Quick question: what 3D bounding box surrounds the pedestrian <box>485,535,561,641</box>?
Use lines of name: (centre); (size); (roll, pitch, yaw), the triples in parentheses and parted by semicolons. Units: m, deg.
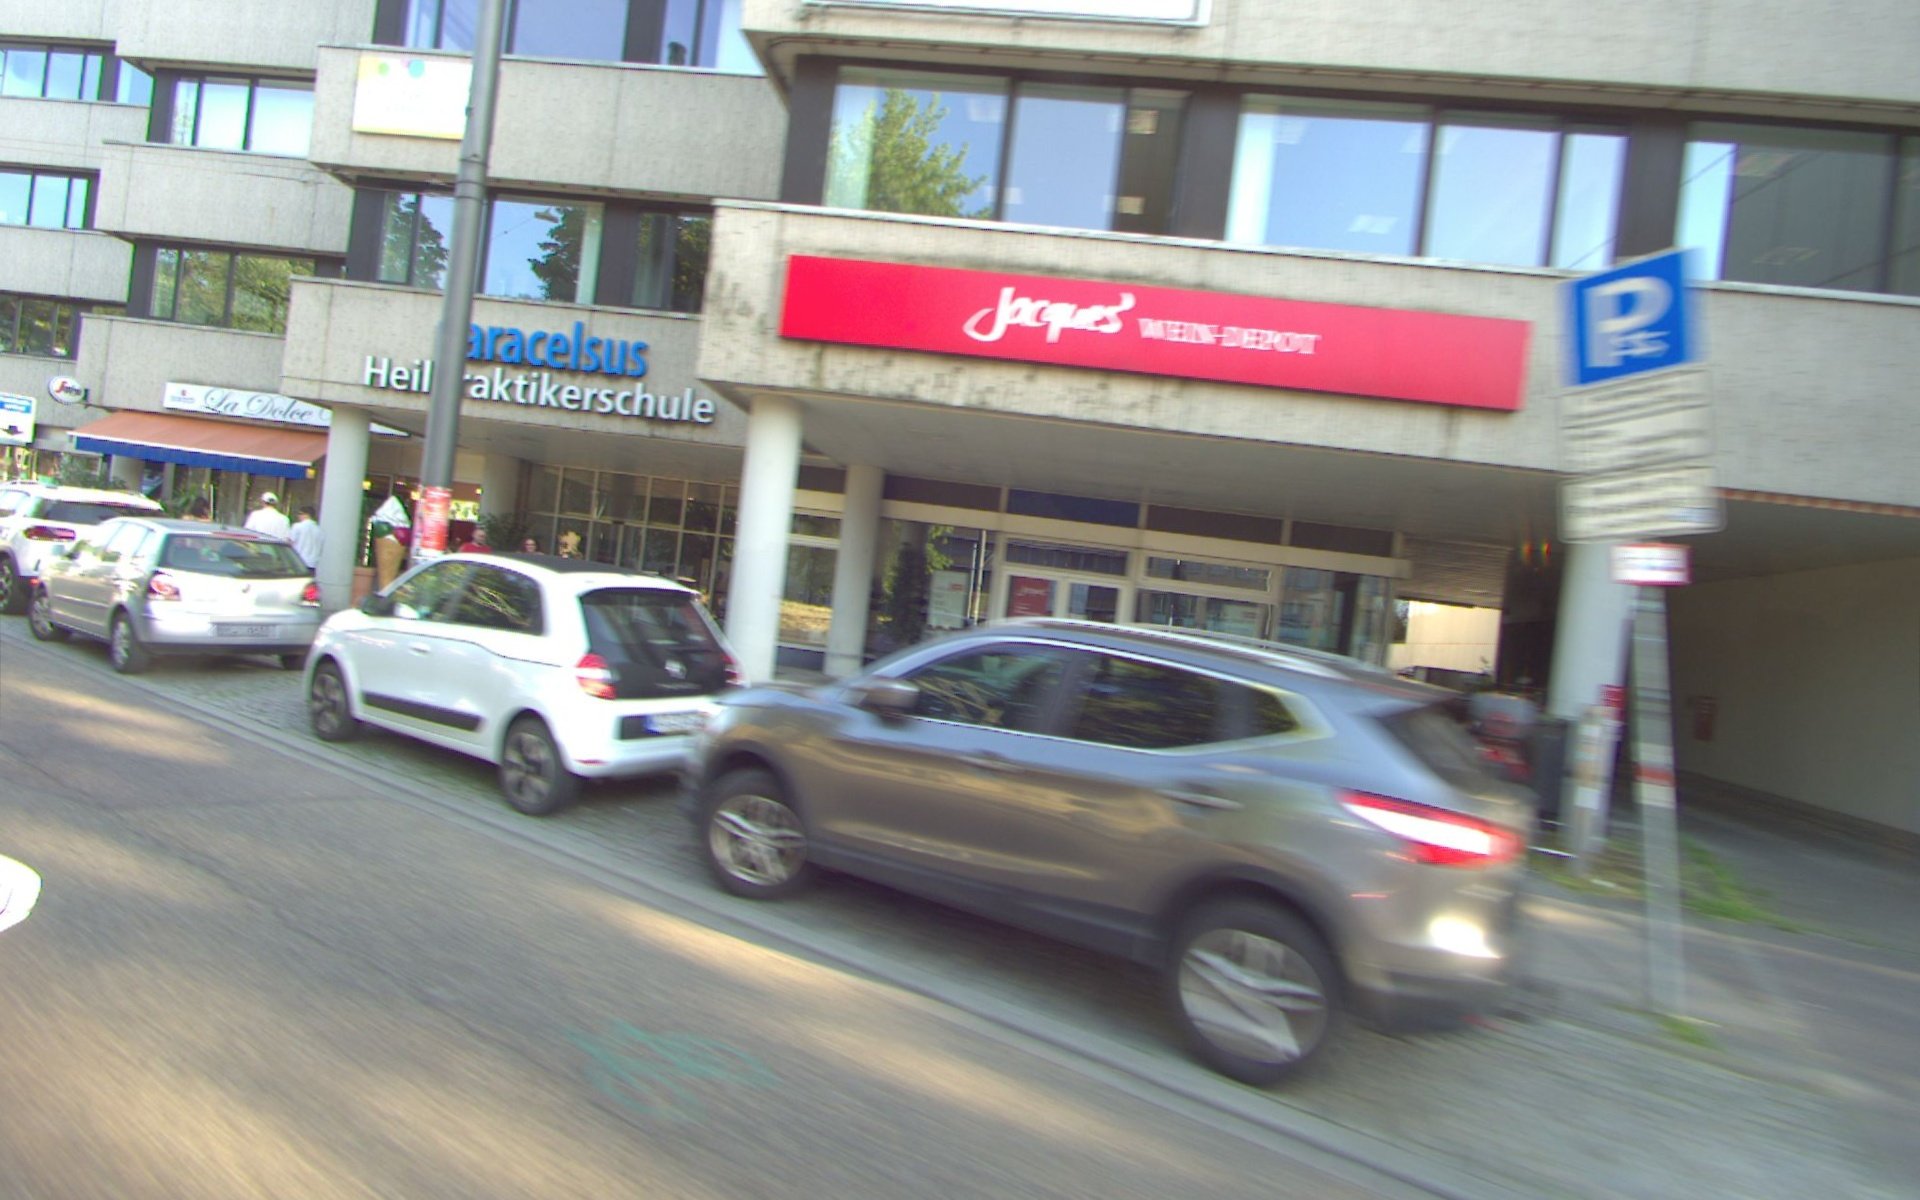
pedestrian: (-7.570, -0.202, 17.465); (0.977, 1.694, 0.639); (6, 1, -16)

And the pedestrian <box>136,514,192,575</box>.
pedestrian: (-17.947, -1.242, 22.694); (0.650, 1.298, 0.652); (6, 1, 2)

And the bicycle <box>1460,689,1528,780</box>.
bicycle: (7.747, 1.913, 14.664); (0.475, 1.088, 1.869); (7, 1, 19)

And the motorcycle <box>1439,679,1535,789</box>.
motorcycle: (6.615, 1.665, 12.565); (0.522, 1.219, 2.011); (7, -1, 40)

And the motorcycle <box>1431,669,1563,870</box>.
motorcycle: (4.345, 1.299, 8.256); (0.572, 1.348, 1.787); (7, 1, 20)

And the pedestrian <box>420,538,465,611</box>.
pedestrian: (-12.411, -0.600, 24.142); (0.511, 1.669, 0.599); (7, -1, 9)

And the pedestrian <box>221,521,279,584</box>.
pedestrian: (-15.808, -1.042, 22.412); (0.649, 1.298, 0.768); (6, 1, 4)

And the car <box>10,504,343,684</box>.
car: (-8.457, -0.116, 10.777); (3.793, 1.460, 1.662); (7, 2, 34)

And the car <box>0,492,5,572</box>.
car: (-19.316, -1.430, 18.329); (3.757, 1.460, 1.664); (7, 2, 29)

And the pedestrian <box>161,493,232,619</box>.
pedestrian: (-11.272, -0.642, 14.845); (0.651, 1.783, 0.578); (7, 3, 34)

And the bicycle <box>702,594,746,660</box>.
bicycle: (-4.324, 0.469, 18.509); (0.475, 1.086, 1.756); (6, 1, -6)

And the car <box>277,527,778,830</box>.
car: (-3.295, 0.428, 7.504); (3.550, 1.577, 1.608); (7, 2, 32)

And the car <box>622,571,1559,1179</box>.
car: (0.452, 0.870, 5.024); (4.166, 1.577, 1.782); (7, 2, 33)

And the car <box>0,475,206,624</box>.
car: (-12.699, -0.793, 14.045); (4.429, 1.736, 1.868); (7, 2, 31)

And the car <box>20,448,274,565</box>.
car: (-21.969, -2.422, 27.577); (2.052, 2.473, 5.334); (6, 0, 7)

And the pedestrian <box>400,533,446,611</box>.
pedestrian: (-12.930, -0.668, 24.228); (0.511, 1.780, 0.599); (7, -1, 9)

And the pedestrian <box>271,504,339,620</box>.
pedestrian: (-10.372, -0.594, 15.930); (0.651, 1.763, 0.622); (7, 3, 34)

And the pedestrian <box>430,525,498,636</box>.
pedestrian: (-8.408, -0.331, 17.088); (0.688, 1.749, 1.029); (6, 1, -16)

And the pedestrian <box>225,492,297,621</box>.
pedestrian: (-10.686, -0.655, 15.379); (0.651, 1.883, 0.622); (7, 3, 34)
